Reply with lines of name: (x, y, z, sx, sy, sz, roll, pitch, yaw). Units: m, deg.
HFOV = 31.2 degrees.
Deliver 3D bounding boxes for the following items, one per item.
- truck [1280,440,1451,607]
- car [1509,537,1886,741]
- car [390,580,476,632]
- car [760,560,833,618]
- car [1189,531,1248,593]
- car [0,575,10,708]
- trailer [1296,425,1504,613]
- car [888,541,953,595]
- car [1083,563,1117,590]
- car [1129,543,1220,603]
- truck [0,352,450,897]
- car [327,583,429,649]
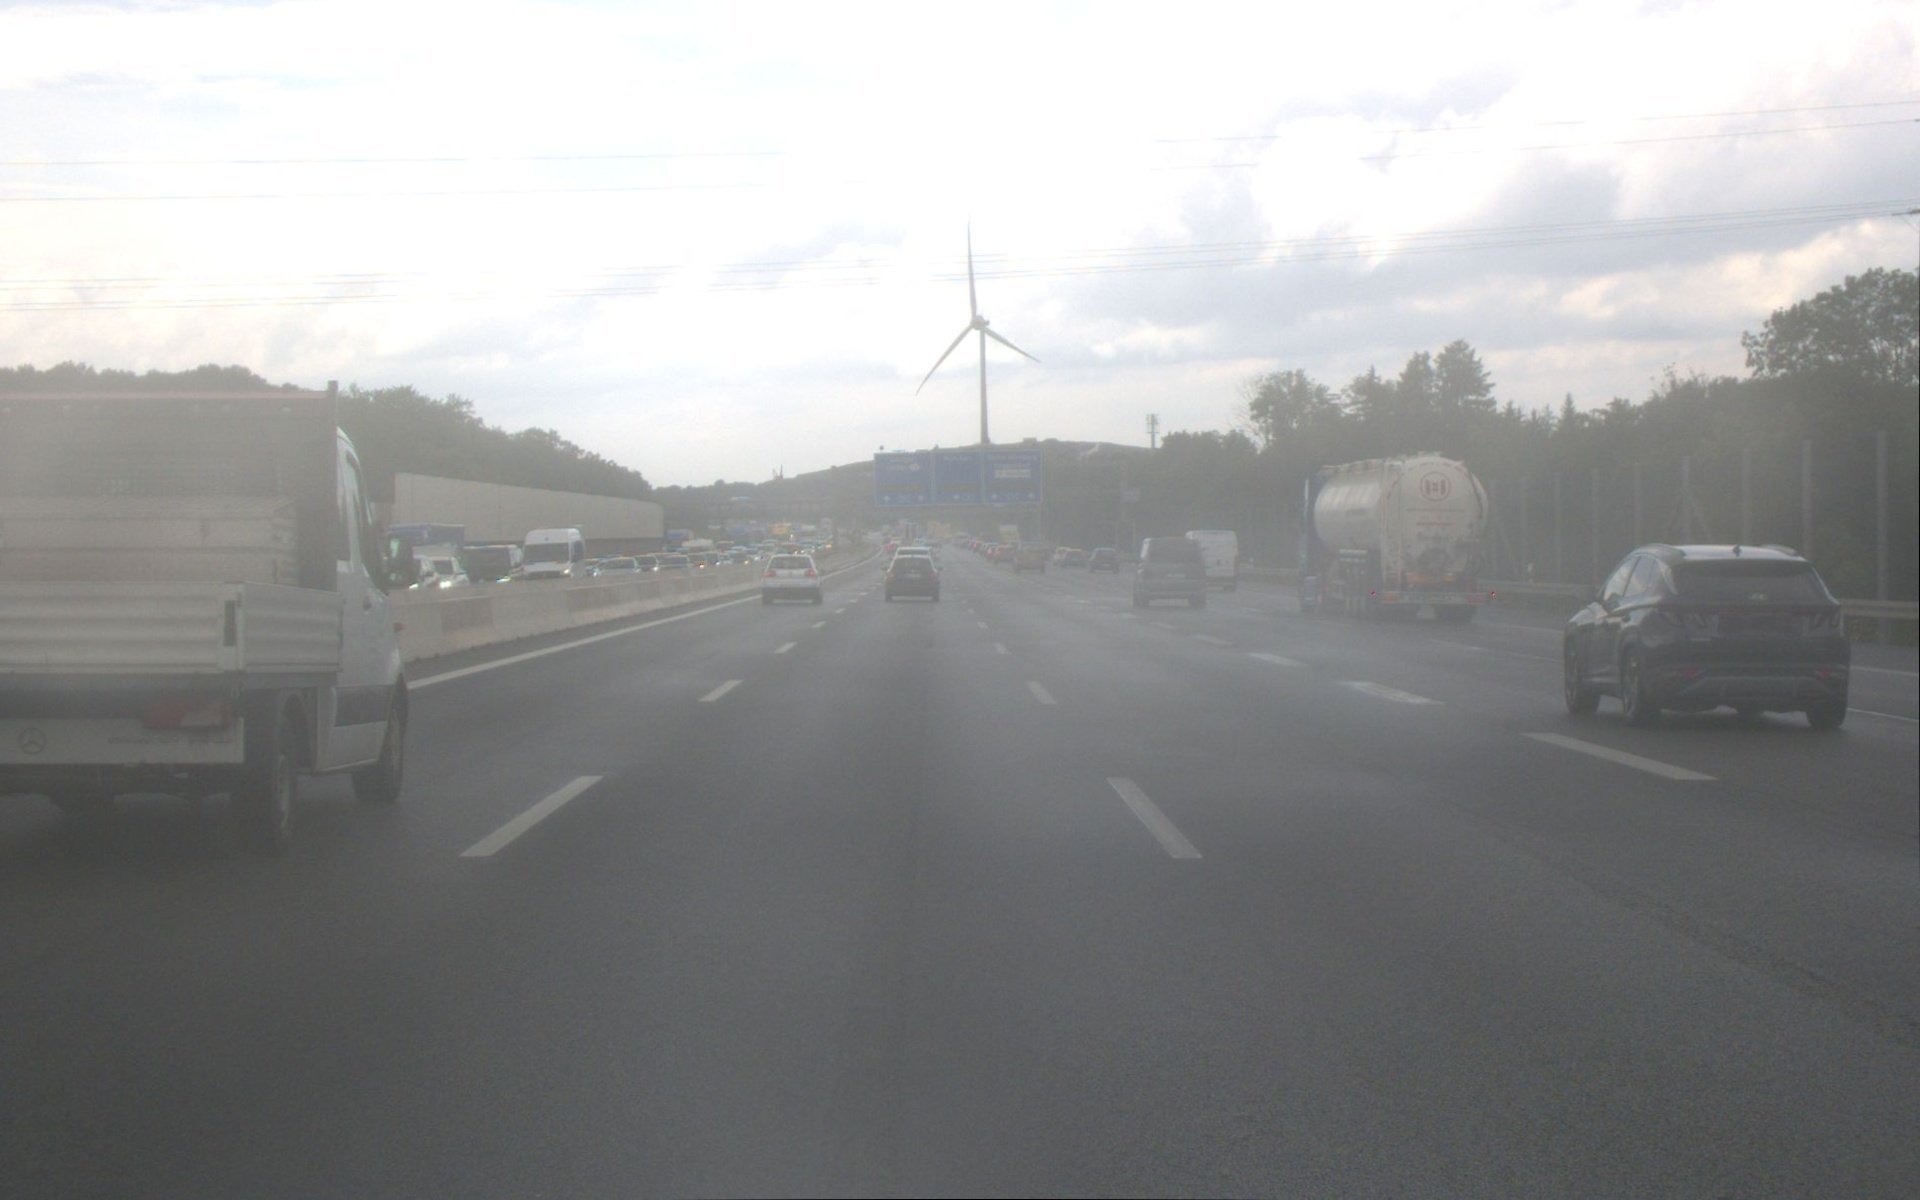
truck: (10.366, -1.936, 88.798, 3.333, 4.066, 8.272, 1, 1, 0)
car: (6.590, 0.291, 31.335, 2.045, 1.693, 5.008, 1, 1, -4)
car: (-15.802, 0.152, 103.302, 1.850, 1.472, 5.081, 1, 1, -1)
car: (-4.887, -0.351, 103.200, 2.045, 1.693, 4.000, 0, 1, -1)
car: (10.545, -1.577, 140.593, 2.045, 2.489, 4.000, 0, 1, -1)
car: (-15.052, 0.620, 48.992, 1.893, 1.947, 4.213, 1, 1, -1)
trailer: (10.429, -1.879, 82.888, 3.332, 4.161, 11.838, 1, 1, 0)
car: (-1.241, -1.040, 109.872, 2.045, 1.693, 4.000, 0, 1, 0)
car: (9.297, -1.586, 228.801, 1.993, 1.744, 4.497, 1, 0, -1)
car: (6.144, -0.796, 98.951, 2.097, 1.693, 4.001, 0, 1, -4)
truck: (-4.397, 0.042, 18.890, 2.353, 2.400, 7.359, 1, 1, -2)
car: (-15.184, 0.401, 89.910, 1.894, 1.618, 4.845, 1, 1, -1)
